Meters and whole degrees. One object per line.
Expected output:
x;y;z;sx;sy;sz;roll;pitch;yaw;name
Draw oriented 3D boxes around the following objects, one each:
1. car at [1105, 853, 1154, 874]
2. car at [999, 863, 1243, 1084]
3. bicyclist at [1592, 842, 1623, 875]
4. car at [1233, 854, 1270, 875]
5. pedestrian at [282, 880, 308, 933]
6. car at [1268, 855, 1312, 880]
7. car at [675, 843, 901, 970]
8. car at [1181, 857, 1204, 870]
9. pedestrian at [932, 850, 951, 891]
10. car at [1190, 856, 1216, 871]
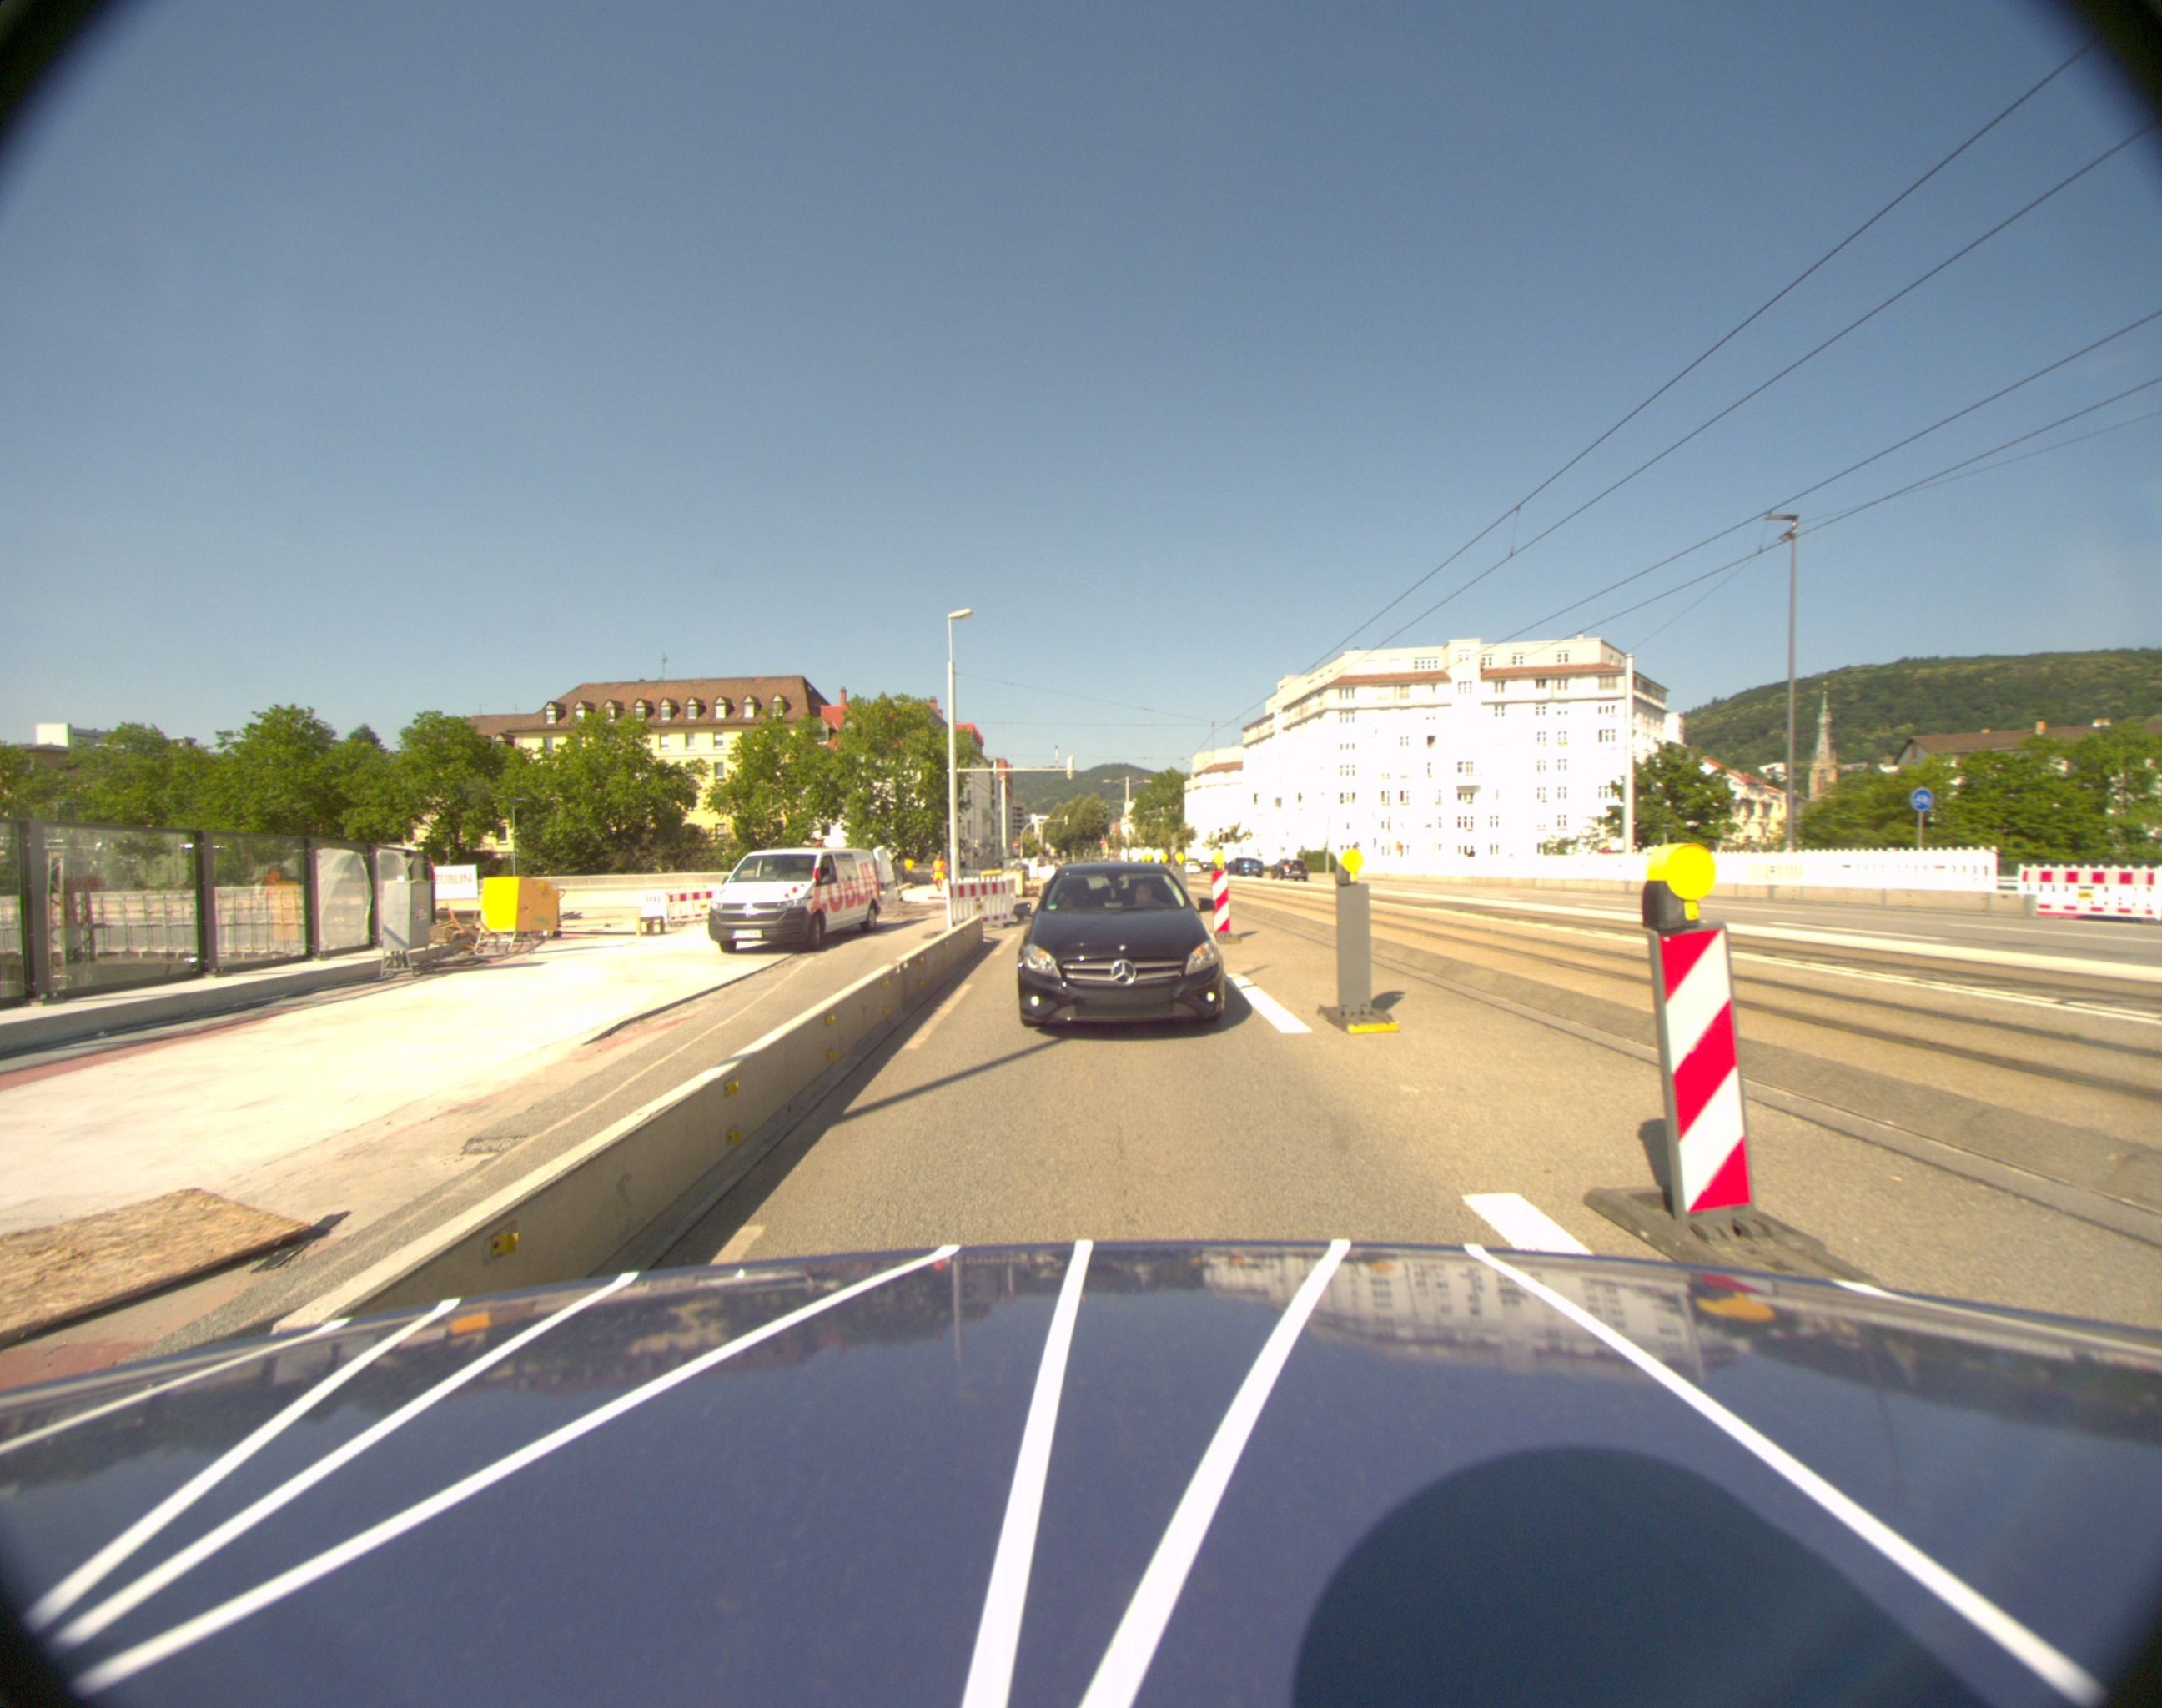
4.491;0.877;70.902;3.990;1.673;2.004;-4;-2;33;car
0.316;0.887;7.621;1.698;1.388;4.362;-2;1;1;car
24.847;0.187;35.872;0.858;1.510;0.817;-2;1;0;bicyclist
13.259;0.810;59.277;2.038;1.477;3.999;0;1;1;car
-30.150;1.996;29.153;0.426;2.002;0.503;-1;2;27;pedestrian
13.176;0.820;48.167;1.801;1.477;4.001;-1;-1;2;car
-5.723;0.841;16.080;1.938;2.078;6.469;-1;1;3;car
13.691;1.106;93.582;2.039;1.477;3.998;0;1;-3;car
-6.736;0.777;36.790;0.761;1.973;0.843;0;2;1;pedestrian
13.143;0.958;82.071;2.039;1.477;3.999;0;1;-1;car
